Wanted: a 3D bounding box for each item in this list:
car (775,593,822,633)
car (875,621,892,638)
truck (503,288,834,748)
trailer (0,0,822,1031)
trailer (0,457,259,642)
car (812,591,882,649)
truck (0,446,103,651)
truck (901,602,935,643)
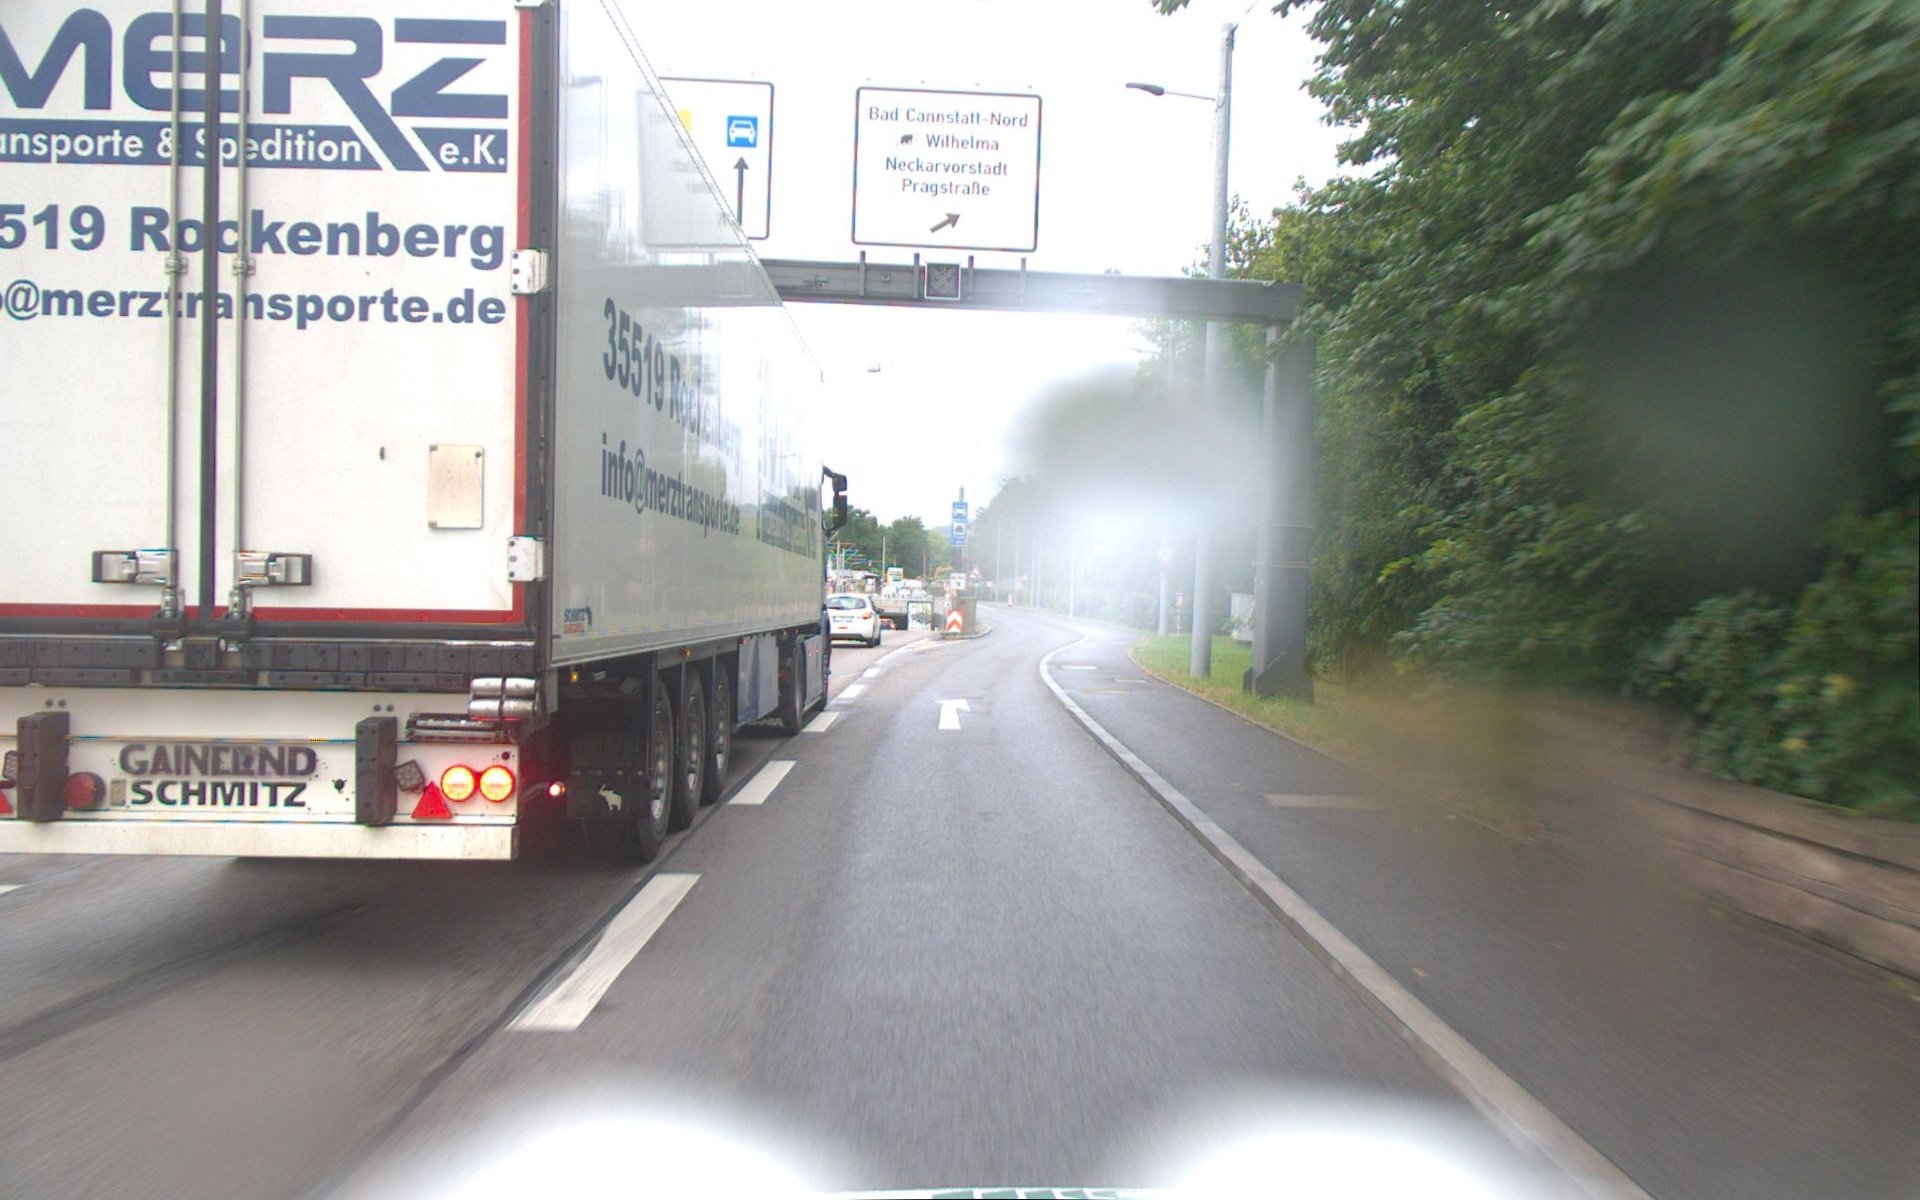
[{"bbox_3d":[-6.639,0.509,68.342,1.647,1.471,4.000,1,2,-1],"label":"car"},{"bbox_3d":[-6.677,2.558,144.690,1.398,1.378,2.959,1,0,-2],"label":"car"},{"bbox_3d":[-2.950,-0.772,18.568,2.700,4.278,6.305,0,0,-1],"label":"truck"},{"bbox_3d":[-2.859,-0.670,12.452,2.706,4.327,13.181,0,0,-1],"label":"trailer"},{"bbox_3d":[-20.902,-1.142,41.894,2.629,4.122,9.079,1,0,-2],"label":"trailer"},{"bbox_3d":[-3.171,0.525,47.029,1.773,1.448,4.000,1,2,-1],"label":"car"},{"bbox_3d":[-20.579,-1.053,32.315,2.629,4.122,10.139,1,0,-2],"label":"truck"},{"bbox_3d":[-4.338,2.272,172.425,3.447,4.110,8.072,1,0,-1],"label":"truck"}]
